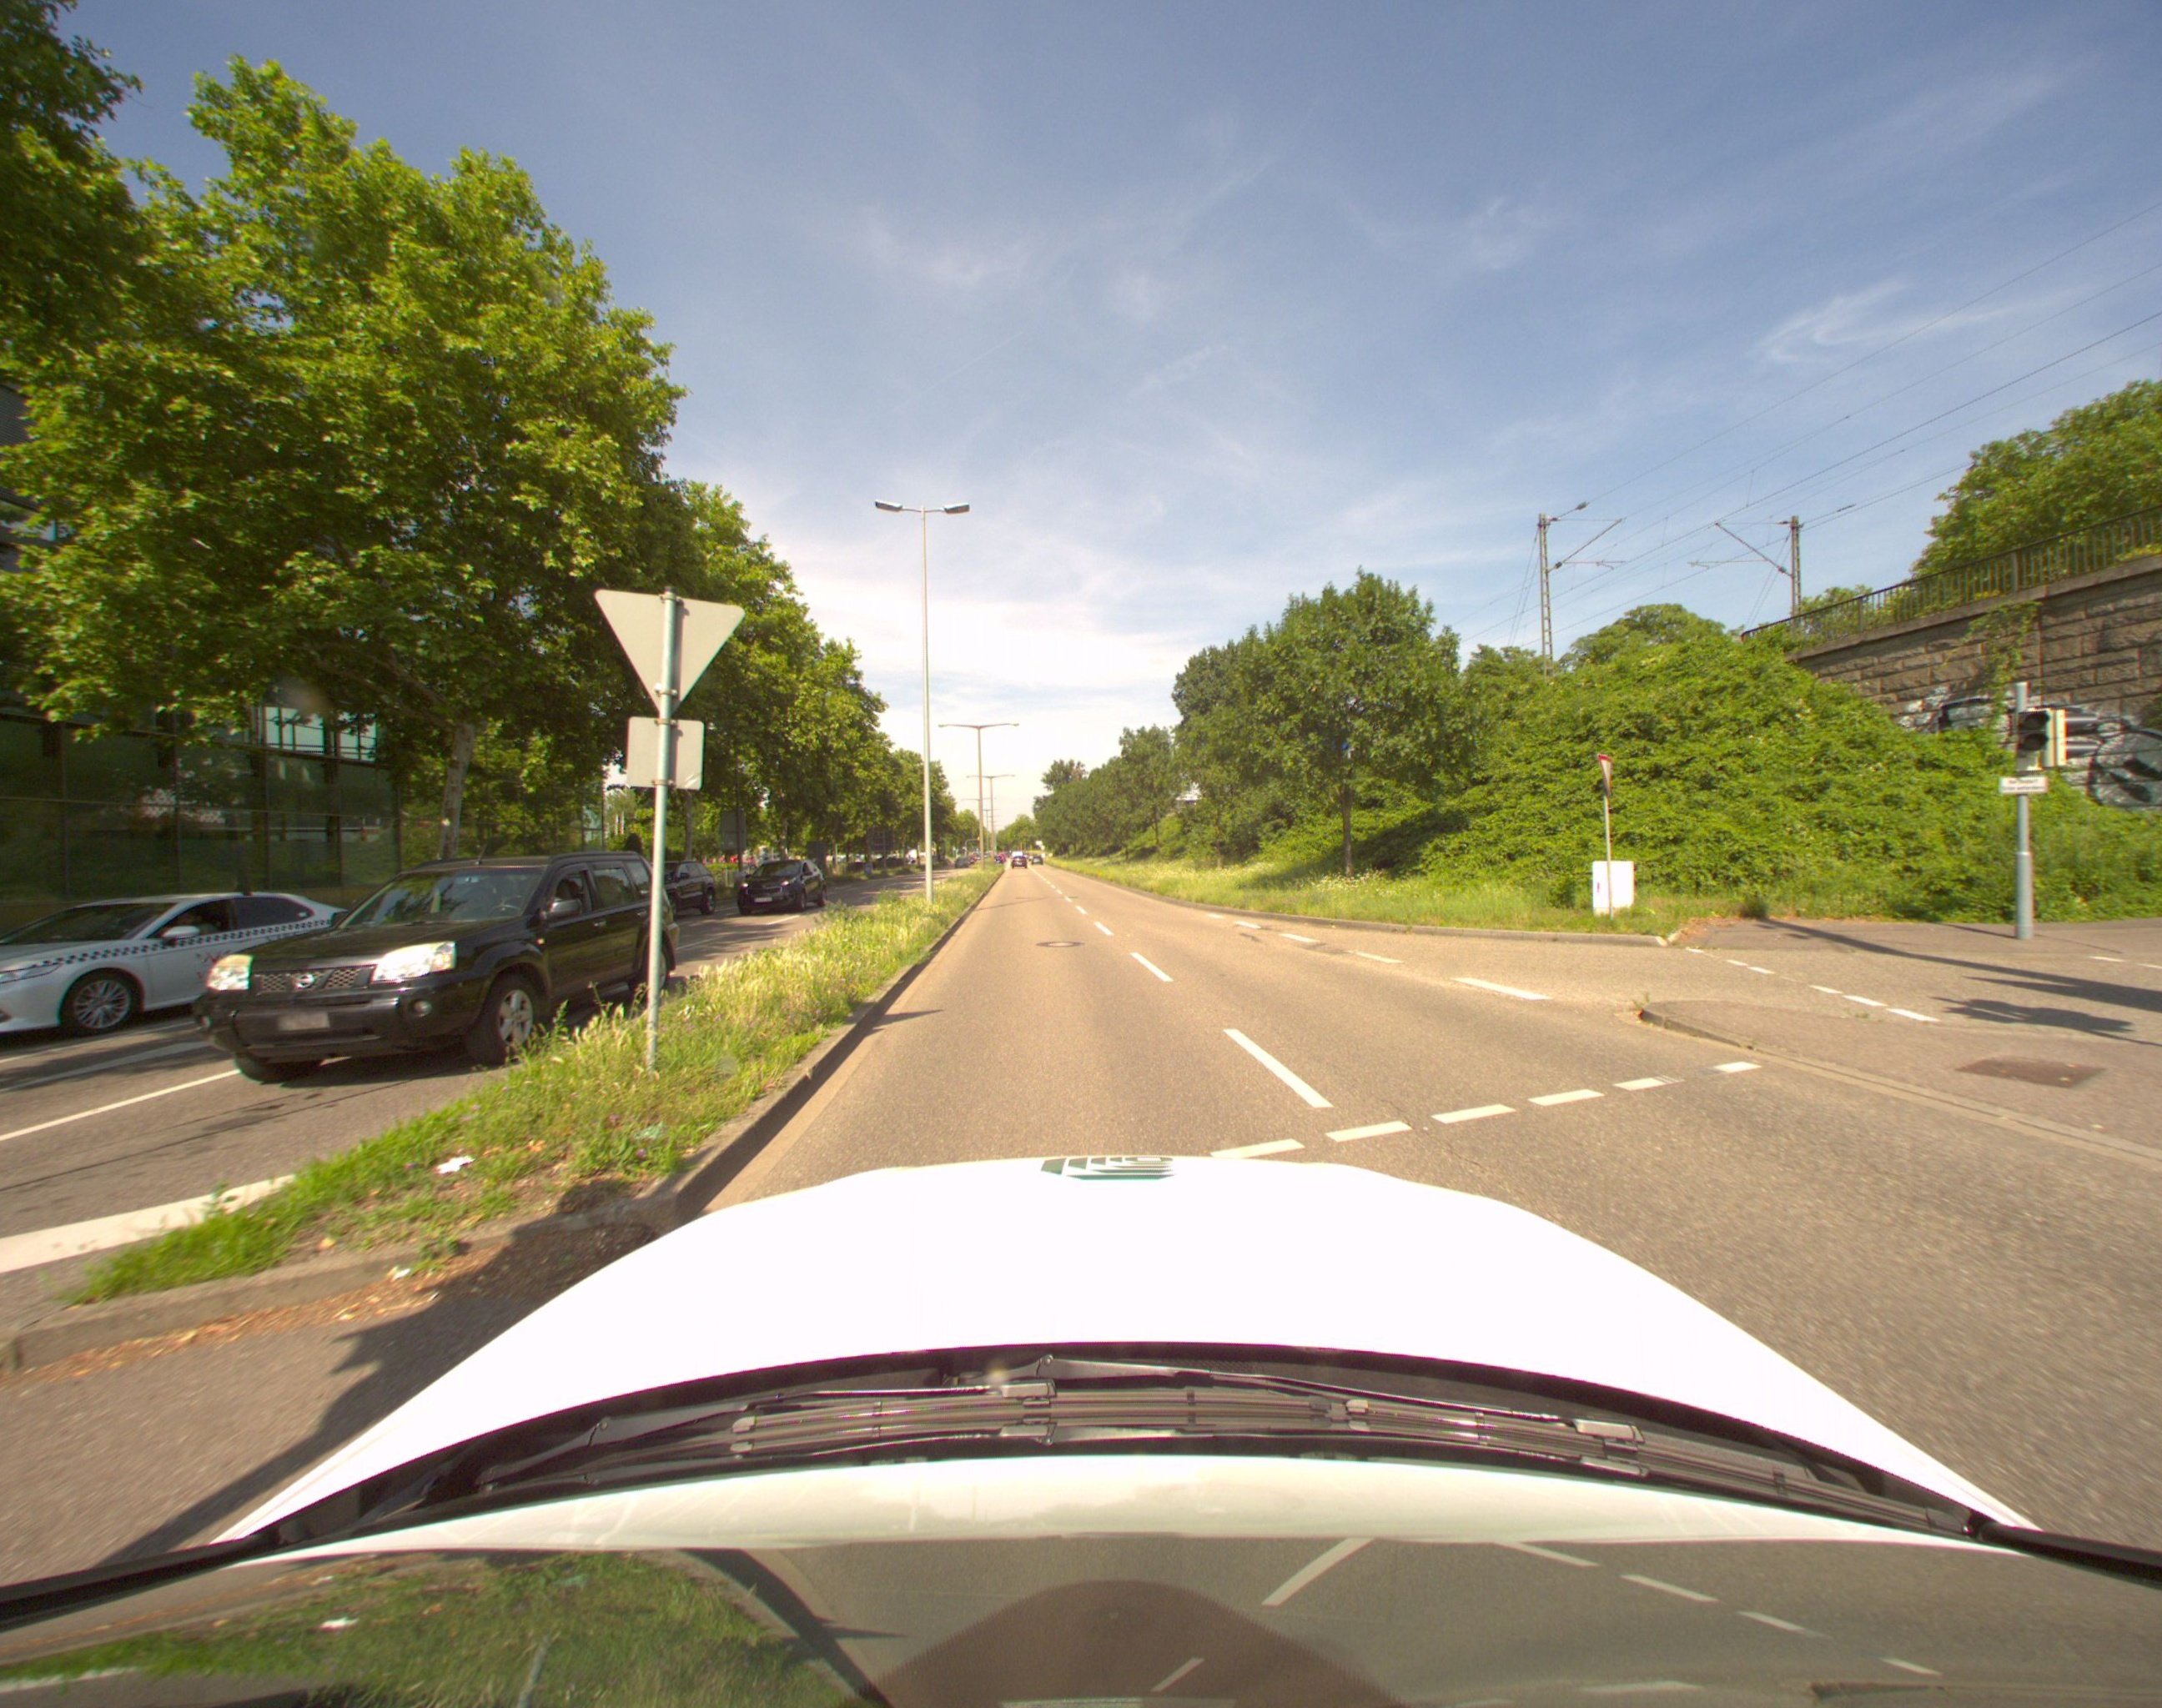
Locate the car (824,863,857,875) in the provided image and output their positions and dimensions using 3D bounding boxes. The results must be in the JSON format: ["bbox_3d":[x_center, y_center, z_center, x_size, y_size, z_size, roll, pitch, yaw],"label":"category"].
[{"bbox_3d":[-32.621,1.977,110.625,3.980,1.464,1.769,-2,0,-5],"label":"car"}]

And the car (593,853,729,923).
[{"bbox_3d":[-12.720,0.942,25.042,1.990,1.835,4.643,-2,0,-5],"label":"car"}]

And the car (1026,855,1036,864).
[{"bbox_3d":[-9.963,1.103,162.039,1.990,1.708,4.256,-2,0,-5],"label":"car"}]

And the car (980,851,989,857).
[{"bbox_3d":[-27.875,0.061,235.292,1.989,1.775,3.996,-2,0,-2],"label":"car"}]

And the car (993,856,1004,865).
[{"bbox_3d":[-13.098,1.026,129.536,1.624,1.483,4.041,0,0,-5],"label":"car"}]

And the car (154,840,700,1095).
[{"bbox_3d":[-5.393,0.734,7.690,1.805,1.615,4.482,-2,0,-6],"label":"car"}]

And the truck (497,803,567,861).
[{"bbox_3d":[-36.019,-1.334,53.296,2.688,3.395,8.882,-1,0,-41],"label":"truck"}]

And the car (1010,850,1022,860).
[{"bbox_3d":[-11.026,0.197,138.635,1.990,1.708,4.256,-2,0,-4],"label":"car"}]

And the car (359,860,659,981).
[{"bbox_3d":[-8.843,0.905,13.206,1.833,1.462,4.510,-4,0,-4],"label":"car"}]

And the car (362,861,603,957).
[{"bbox_3d":[-12.119,1.013,16.960,1.884,1.590,4.439,-3,0,-4],"label":"car"}]

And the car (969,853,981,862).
[{"bbox_3d":[-17.799,0.580,136.629,1.769,1.467,4.664,-3,0,-4],"label":"car"}]

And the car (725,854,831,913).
[{"bbox_3d":[-9.510,0.853,25.971,1.990,1.610,4.488,-2,1,-5],"label":"car"}]

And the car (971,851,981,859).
[{"bbox_3d":[-22.062,0.179,170.812,1.760,1.462,3.994,-3,0,-4],"label":"car"}]

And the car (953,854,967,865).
[{"bbox_3d":[-17.000,0.803,114.522,1.825,1.467,4.977,-2,0,-6],"label":"car"}]

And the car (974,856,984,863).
[{"bbox_3d":[-22.558,1.304,180.221,1.837,1.478,4.158,-2,0,-5],"label":"car"}]

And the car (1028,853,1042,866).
[{"bbox_3d":[-7.240,0.850,128.043,2.014,1.837,3.994,-1,2,-5],"label":"car"}]

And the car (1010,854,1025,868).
[{"bbox_3d":[-7.813,0.836,99.730,1.733,1.535,3.994,-1,2,-5],"label":"car"}]

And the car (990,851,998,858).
[{"bbox_3d":[-24.271,0.081,227.693,1.989,1.860,3.995,-2,0,-4],"label":"car"}]

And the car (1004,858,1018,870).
[{"bbox_3d":[-10.316,1.439,120.046,1.990,1.684,3.993,-1,0,-5],"label":"car"}]

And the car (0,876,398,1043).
[{"bbox_3d":[-11.310,1.107,9.962,1.887,1.449,4.996,-3,0,-4],"label":"car"}]

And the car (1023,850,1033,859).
[{"bbox_3d":[-12.132,0.144,187.403,1.993,2.013,3.988,-1,0,-8],"label":"car"}]

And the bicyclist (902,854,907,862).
[{"bbox_3d":[-31.758,0.704,146.438,0.680,1.485,0.940,-2,0,-5],"label":"bicyclist"}]
